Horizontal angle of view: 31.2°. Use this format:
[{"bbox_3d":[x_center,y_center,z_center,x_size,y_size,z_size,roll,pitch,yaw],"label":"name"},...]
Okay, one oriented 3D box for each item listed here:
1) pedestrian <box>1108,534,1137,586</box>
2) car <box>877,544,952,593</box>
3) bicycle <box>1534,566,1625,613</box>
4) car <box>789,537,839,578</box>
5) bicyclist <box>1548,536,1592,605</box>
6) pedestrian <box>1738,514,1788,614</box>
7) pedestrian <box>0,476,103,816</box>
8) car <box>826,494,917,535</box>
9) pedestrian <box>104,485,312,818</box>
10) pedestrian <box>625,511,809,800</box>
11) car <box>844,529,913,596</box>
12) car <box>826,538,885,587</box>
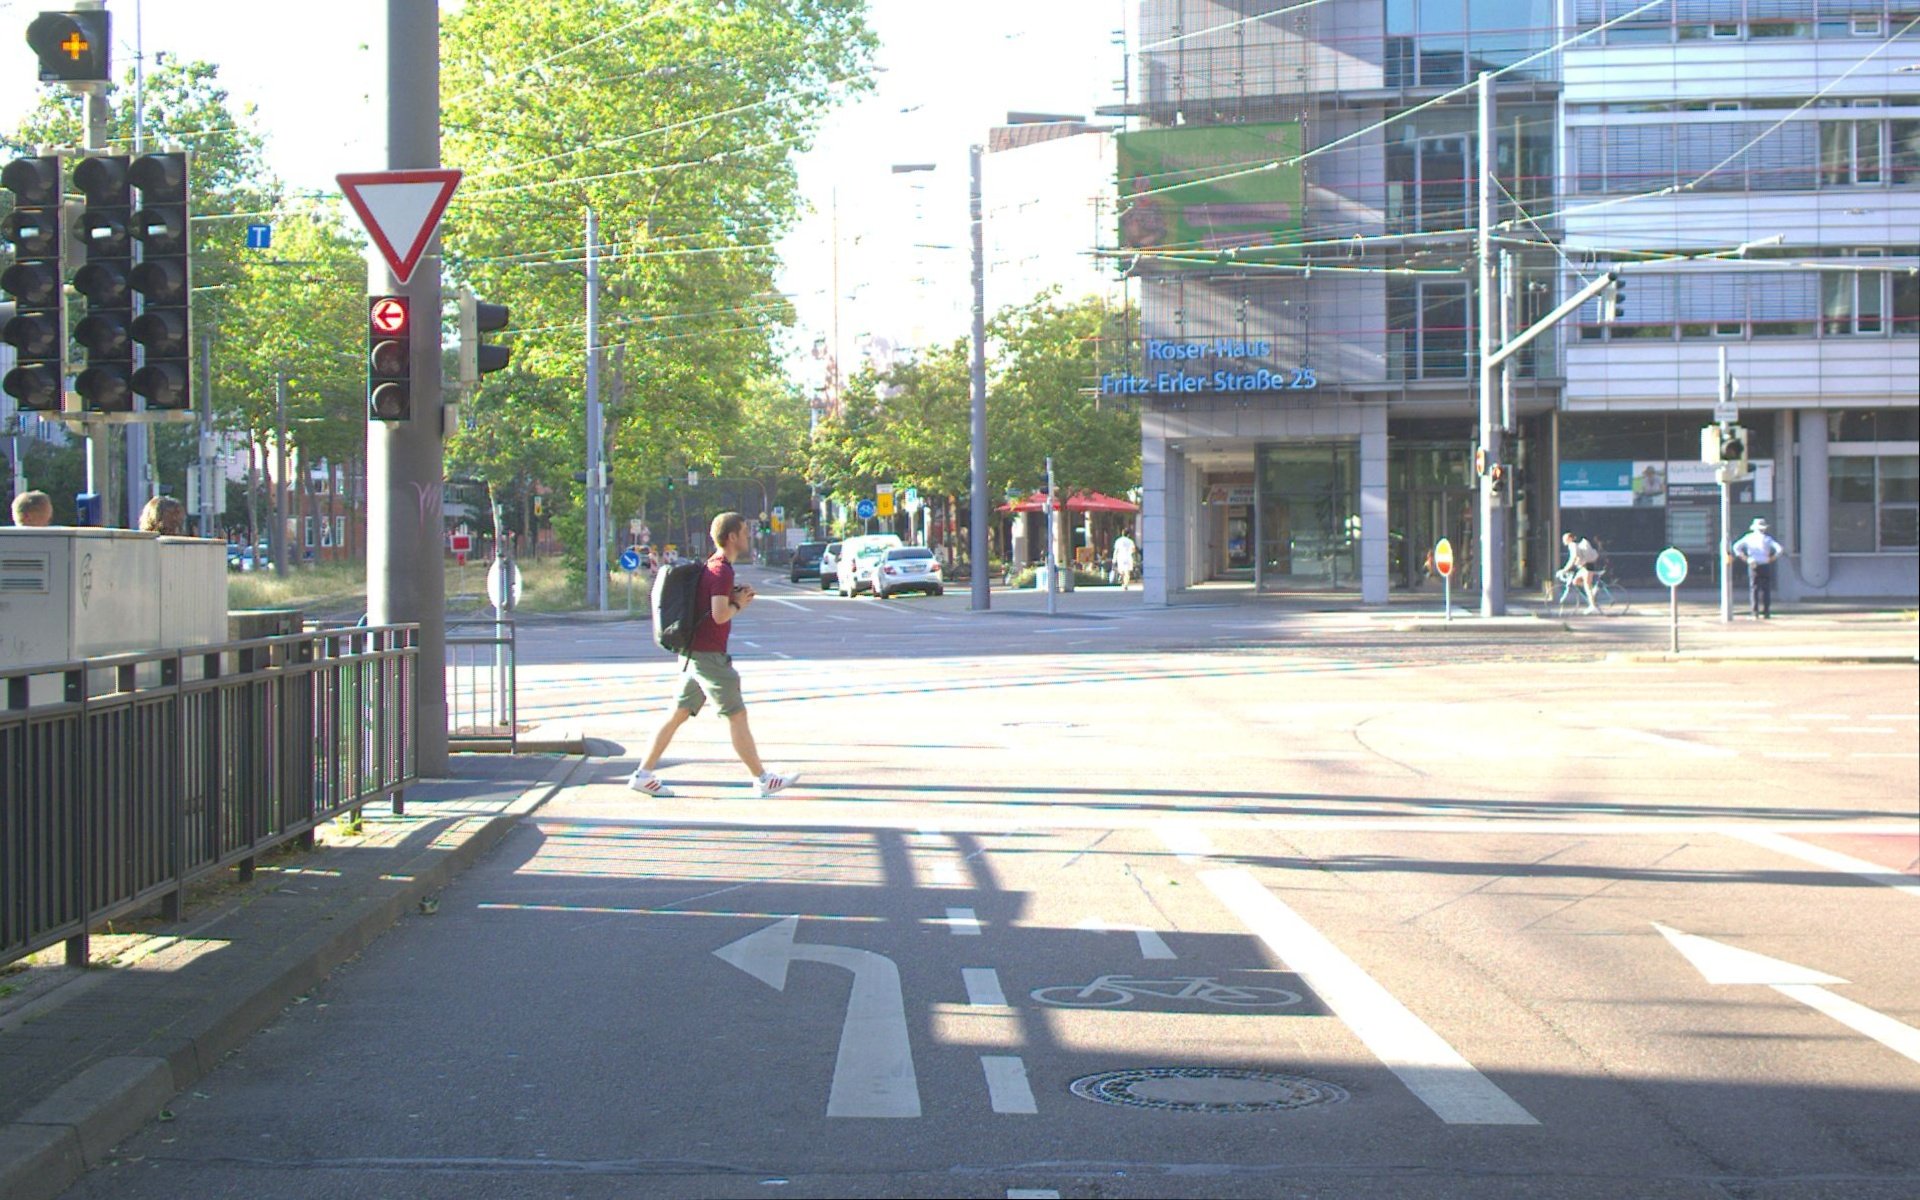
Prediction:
[{"bbox_3d":[4.591,-1.139,97.234,0.739,1.460,0.537,-1,1,-4],"label":"pedestrian"},{"bbox_3d":[-1.315,-0.904,97.914,1.993,1.327,4.001,-1,1,-2],"label":"car"},{"bbox_3d":[12.322,-0.208,68.412,1.741,0.896,0.409,-1,1,4],"label":"bicycle"},{"bbox_3d":[-6.009,-1.757,141.573,1.993,1.656,4.001,-1,1,-2],"label":"car"},{"bbox_3d":[12.141,-0.594,68.417,0.819,1.362,0.400,-1,1,4],"label":"bicyclist"},{"bbox_3d":[13.557,-0.603,58.047,0.720,1.676,0.557,1,1,5],"label":"pedestrian"},{"bbox_3d":[-5.486,0.251,19.476,1.145,1.887,0.833,0,0,-9],"label":"pedestrian"},{"bbox_3d":[-3.987,-3.856,155.076,3.763,1.744,1.781,1,0,13],"label":"car"},{"bbox_3d":[-4.154,0.278,19.053,1.071,1.800,0.758,0,0,-9],"label":"pedestrian"},{"bbox_3d":[-1.473,0.327,20.728,1.073,1.709,0.628,1,0,-5],"label":"pedestrian"},{"bbox_3d":[-2.492,-1.156,104.594,1.993,1.985,4.001,-1,1,-2],"label":"car"},{"bbox_3d":[-3.676,-1.336,120.033,1.993,1.656,4.001,-1,1,-2],"label":"car"}]
